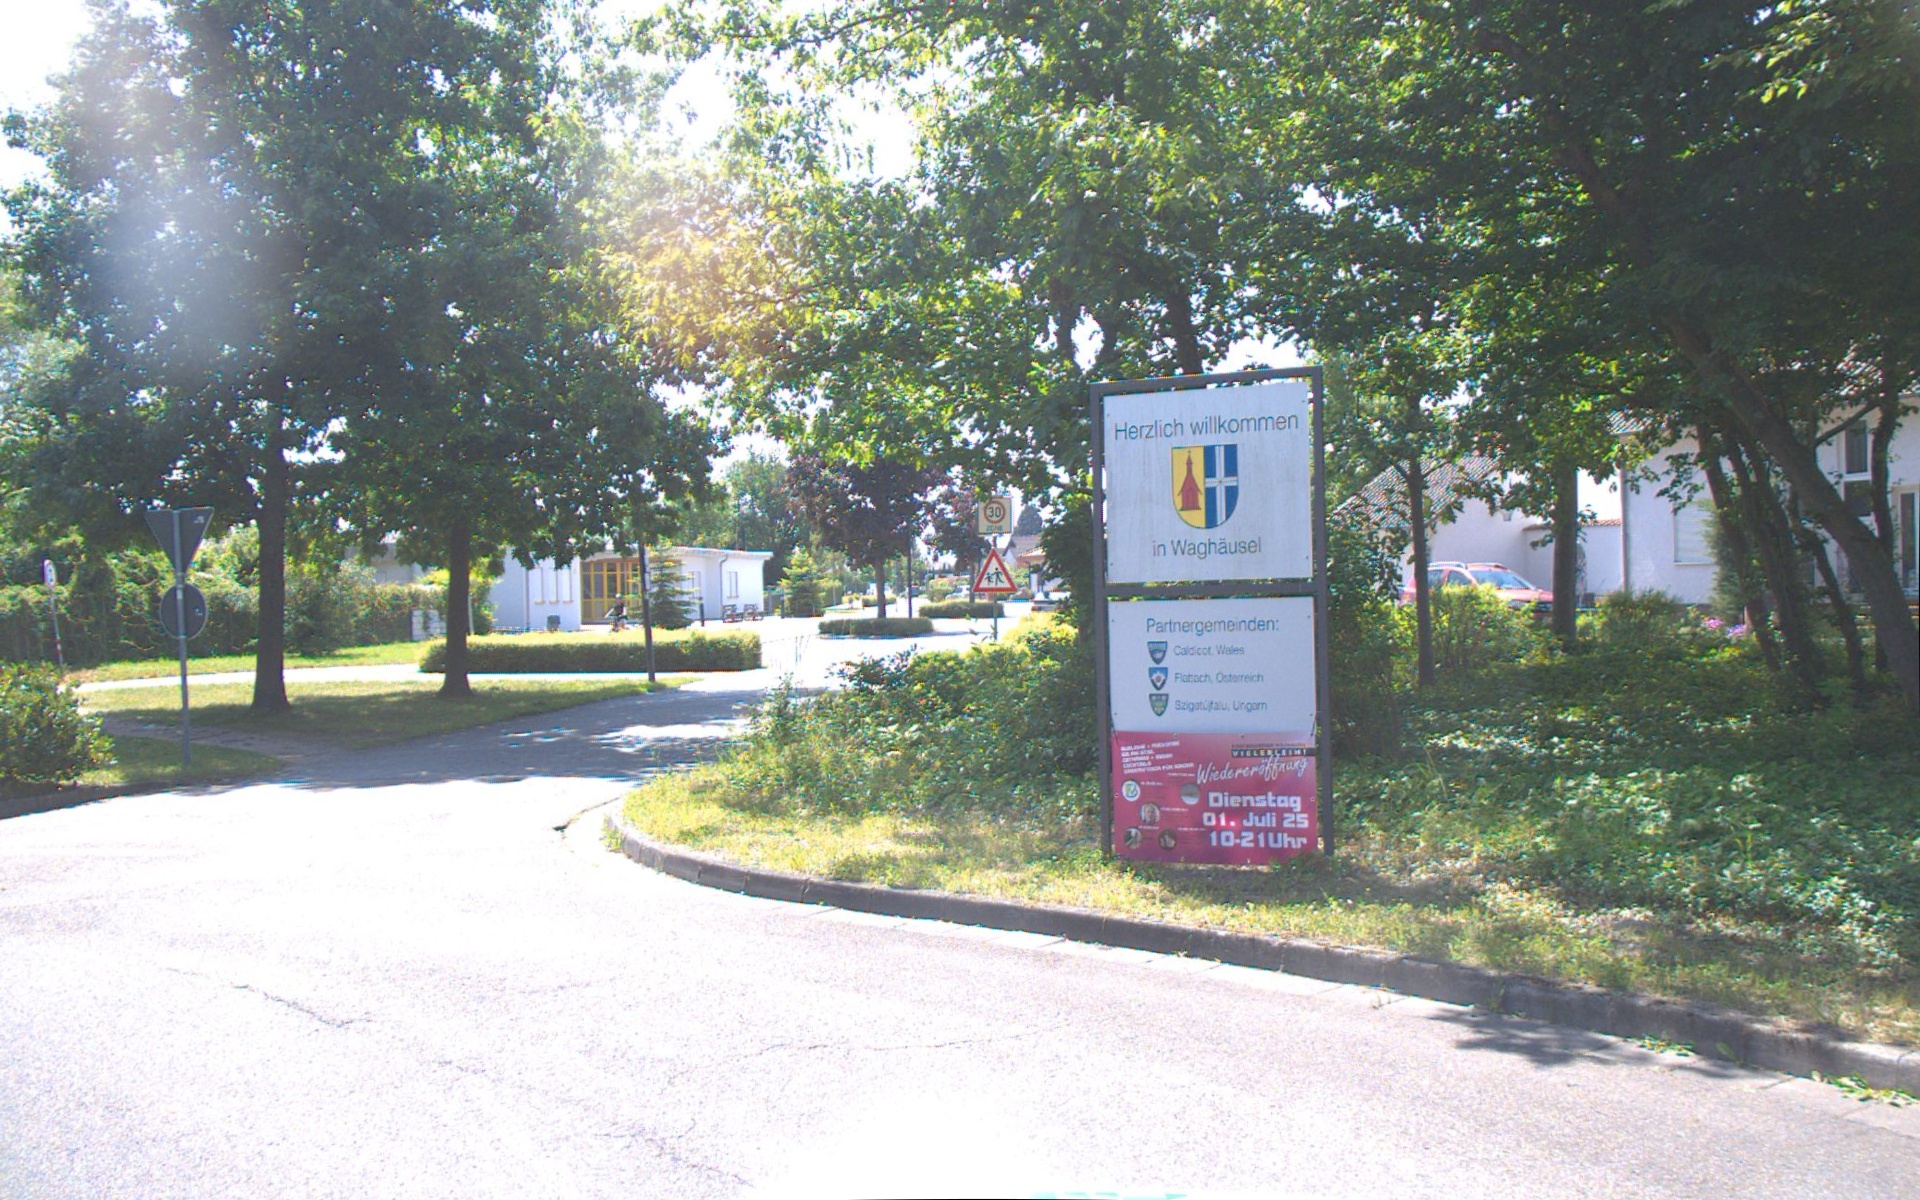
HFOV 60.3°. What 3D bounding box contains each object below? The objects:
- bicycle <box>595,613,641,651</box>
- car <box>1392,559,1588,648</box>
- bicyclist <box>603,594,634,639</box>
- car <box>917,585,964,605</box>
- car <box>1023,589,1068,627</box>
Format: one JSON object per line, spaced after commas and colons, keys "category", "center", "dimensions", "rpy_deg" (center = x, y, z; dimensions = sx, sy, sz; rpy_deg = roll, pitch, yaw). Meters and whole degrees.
{"category": "bicycle", "center": [-9.241, 0.858, 44.714], "dimensions": [0.584, 0.945, 1.622], "rpy_deg": [-2, 0, 13]}
{"category": "car", "center": [10.559, 0.065, 33.261], "dimensions": [1.636, 1.629, 4.003], "rpy_deg": [-2, 0, -20]}
{"category": "bicyclist", "center": [-9.240, 0.443, 44.786], "dimensions": [0.584, 1.185, 0.649], "rpy_deg": [-2, 0, 13]}
{"category": "car", "center": [-1.390, -0.358, 114.676], "dimensions": [1.965, 1.310, 3.974], "rpy_deg": [-2, 0, -21]}
{"category": "car", "center": [3.205, 0.275, 61.430], "dimensions": [1.580, 1.311, 3.559], "rpy_deg": [-2, 0, 4]}
